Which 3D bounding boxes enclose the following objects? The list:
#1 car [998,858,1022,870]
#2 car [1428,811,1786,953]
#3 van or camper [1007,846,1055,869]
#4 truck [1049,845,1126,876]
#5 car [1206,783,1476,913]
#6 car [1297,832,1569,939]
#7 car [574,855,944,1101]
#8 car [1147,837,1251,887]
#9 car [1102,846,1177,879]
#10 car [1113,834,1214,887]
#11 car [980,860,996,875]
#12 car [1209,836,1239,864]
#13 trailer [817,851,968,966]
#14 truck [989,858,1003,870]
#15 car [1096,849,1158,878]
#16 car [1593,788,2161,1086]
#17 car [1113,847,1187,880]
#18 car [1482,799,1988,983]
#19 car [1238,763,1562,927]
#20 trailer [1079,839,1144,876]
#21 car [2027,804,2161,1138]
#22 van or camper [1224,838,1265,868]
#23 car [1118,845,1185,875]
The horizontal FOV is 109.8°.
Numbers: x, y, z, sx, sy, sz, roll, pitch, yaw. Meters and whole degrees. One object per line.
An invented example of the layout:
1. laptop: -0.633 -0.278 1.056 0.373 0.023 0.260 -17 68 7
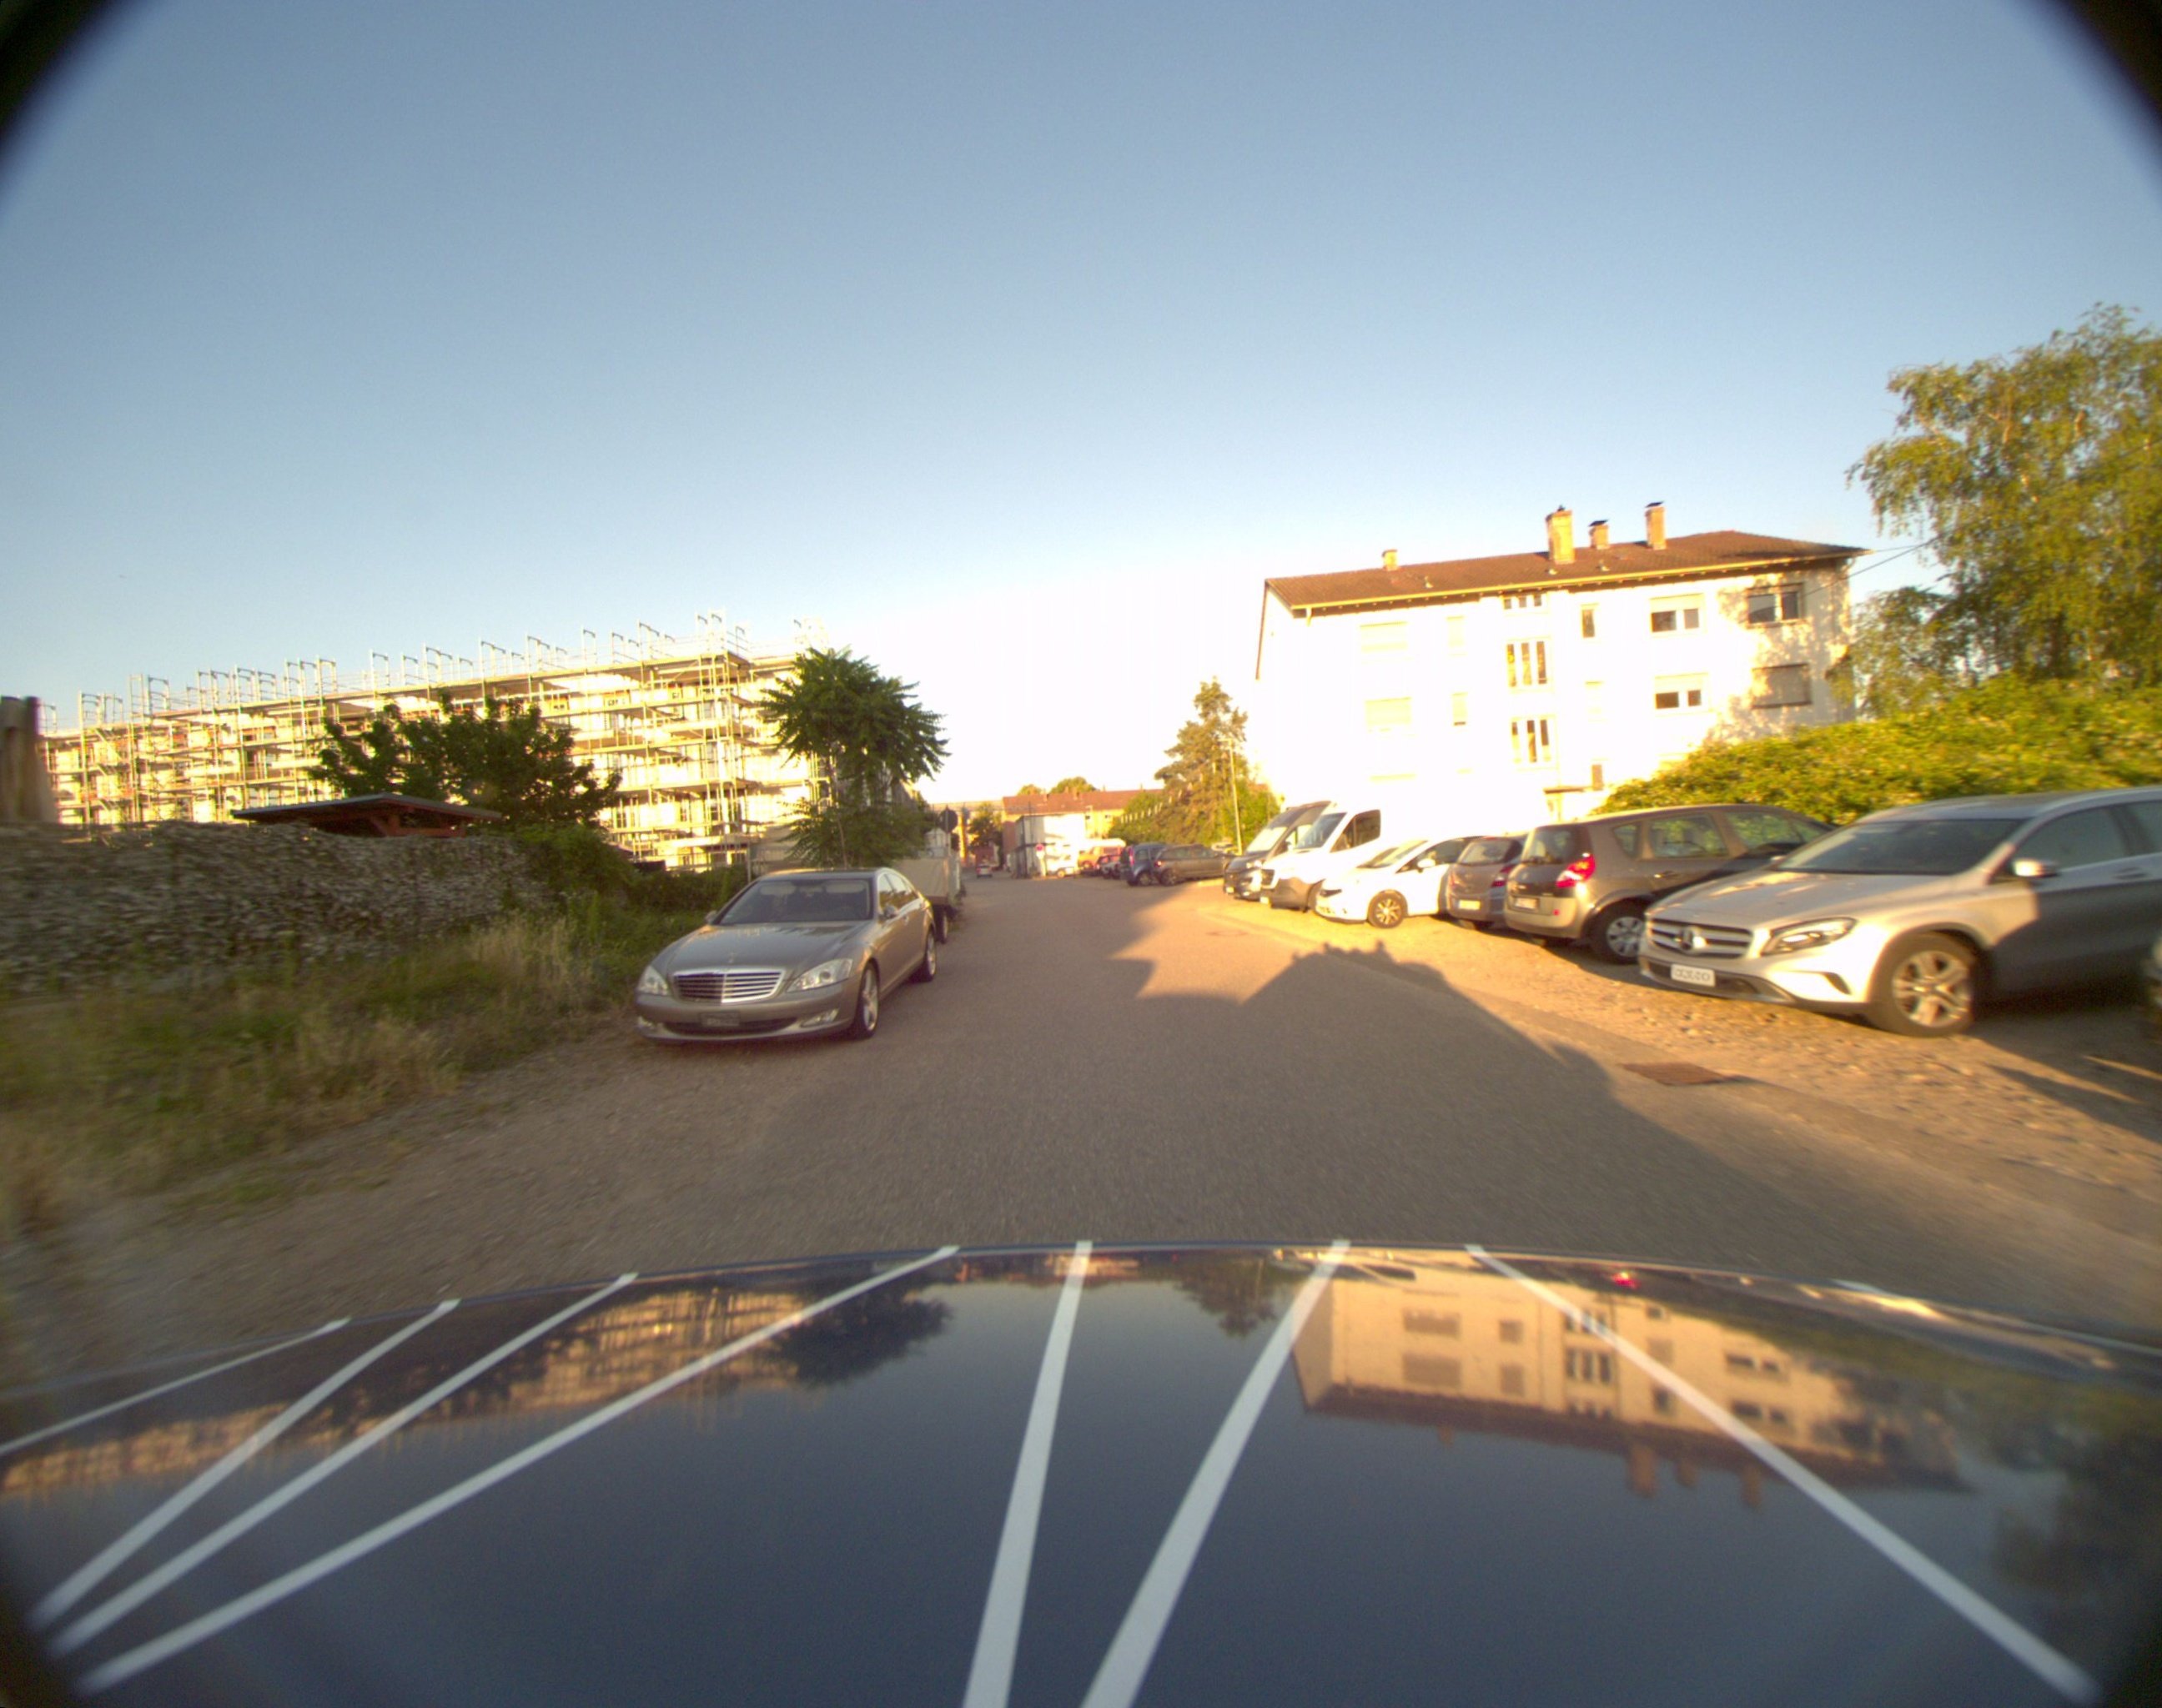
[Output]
1. car: -11.408 1.579 122.188 3.728 1.507 1.808 -6 0 -7
2. car: 7.381 0.345 10.921 3.936 1.582 1.747 -4 2 -3
3. van or camper: -7.154 0.444 108.950 6.474 2.625 2.406 -6 0 -7
4. truck: 0.492 0.525 62.722 6.029 2.031 2.354 -4 0 -6
5. car: 6.876 -0.203 20.341 6.408 2.698 2.111 -6 2 -9
6. car: 6.122 0.514 13.509 3.936 1.498 1.789 -4 1 -2
7. car: -2.761 0.896 7.942 1.811 1.714 4.927 -2 0 -1
8. car: 4.833 0.327 31.485 3.935 1.642 1.748 -6 0 0
9. car: 3.450 0.526 45.203 4.101 1.617 1.821 -4 -3 -6
10. car: 3.664 0.289 33.894 3.940 1.900 1.746 -6 0 -16
11. car: -11.052 1.598 90.162 1.676 1.610 4.282 -4 0 -8
12. car: 12.667 -0.286 67.612 1.848 2.135 4.824 -4 -2 3
13. trailer: -3.358 0.874 14.560 1.735 1.767 4.936 -2 0 -2
14. truck: -15.720 1.821 140.673 1.843 2.089 3.736 -6 1 -15
15. car: 3.053 0.612 51.067 4.046 1.610 1.849 -4 0 1
16. car: 6.532 0.467 5.701 4.137 1.582 1.747 -5 1 -2
17. car: 3.826 0.527 42.609 3.935 1.508 1.643 -4 1 1
18. car: 6.964 0.389 8.492 3.934 1.581 1.749 -4 0 5
19. car: 6.605 -0.191 16.114 5.842 2.697 2.050 -6 0 -5
20. trailer: 2.373 0.236 60.028 4.805 2.419 2.133 -5 2 -2
21. car: 7.246 0.403 3.253 4.136 1.582 1.748 -5 1 0
22. van or camper: 16.576 -0.090 77.442 2.262 2.754 5.797 -4 0 -6
23. car: 4.382 0.407 47.808 3.935 1.512 1.809 -5 -1 1
